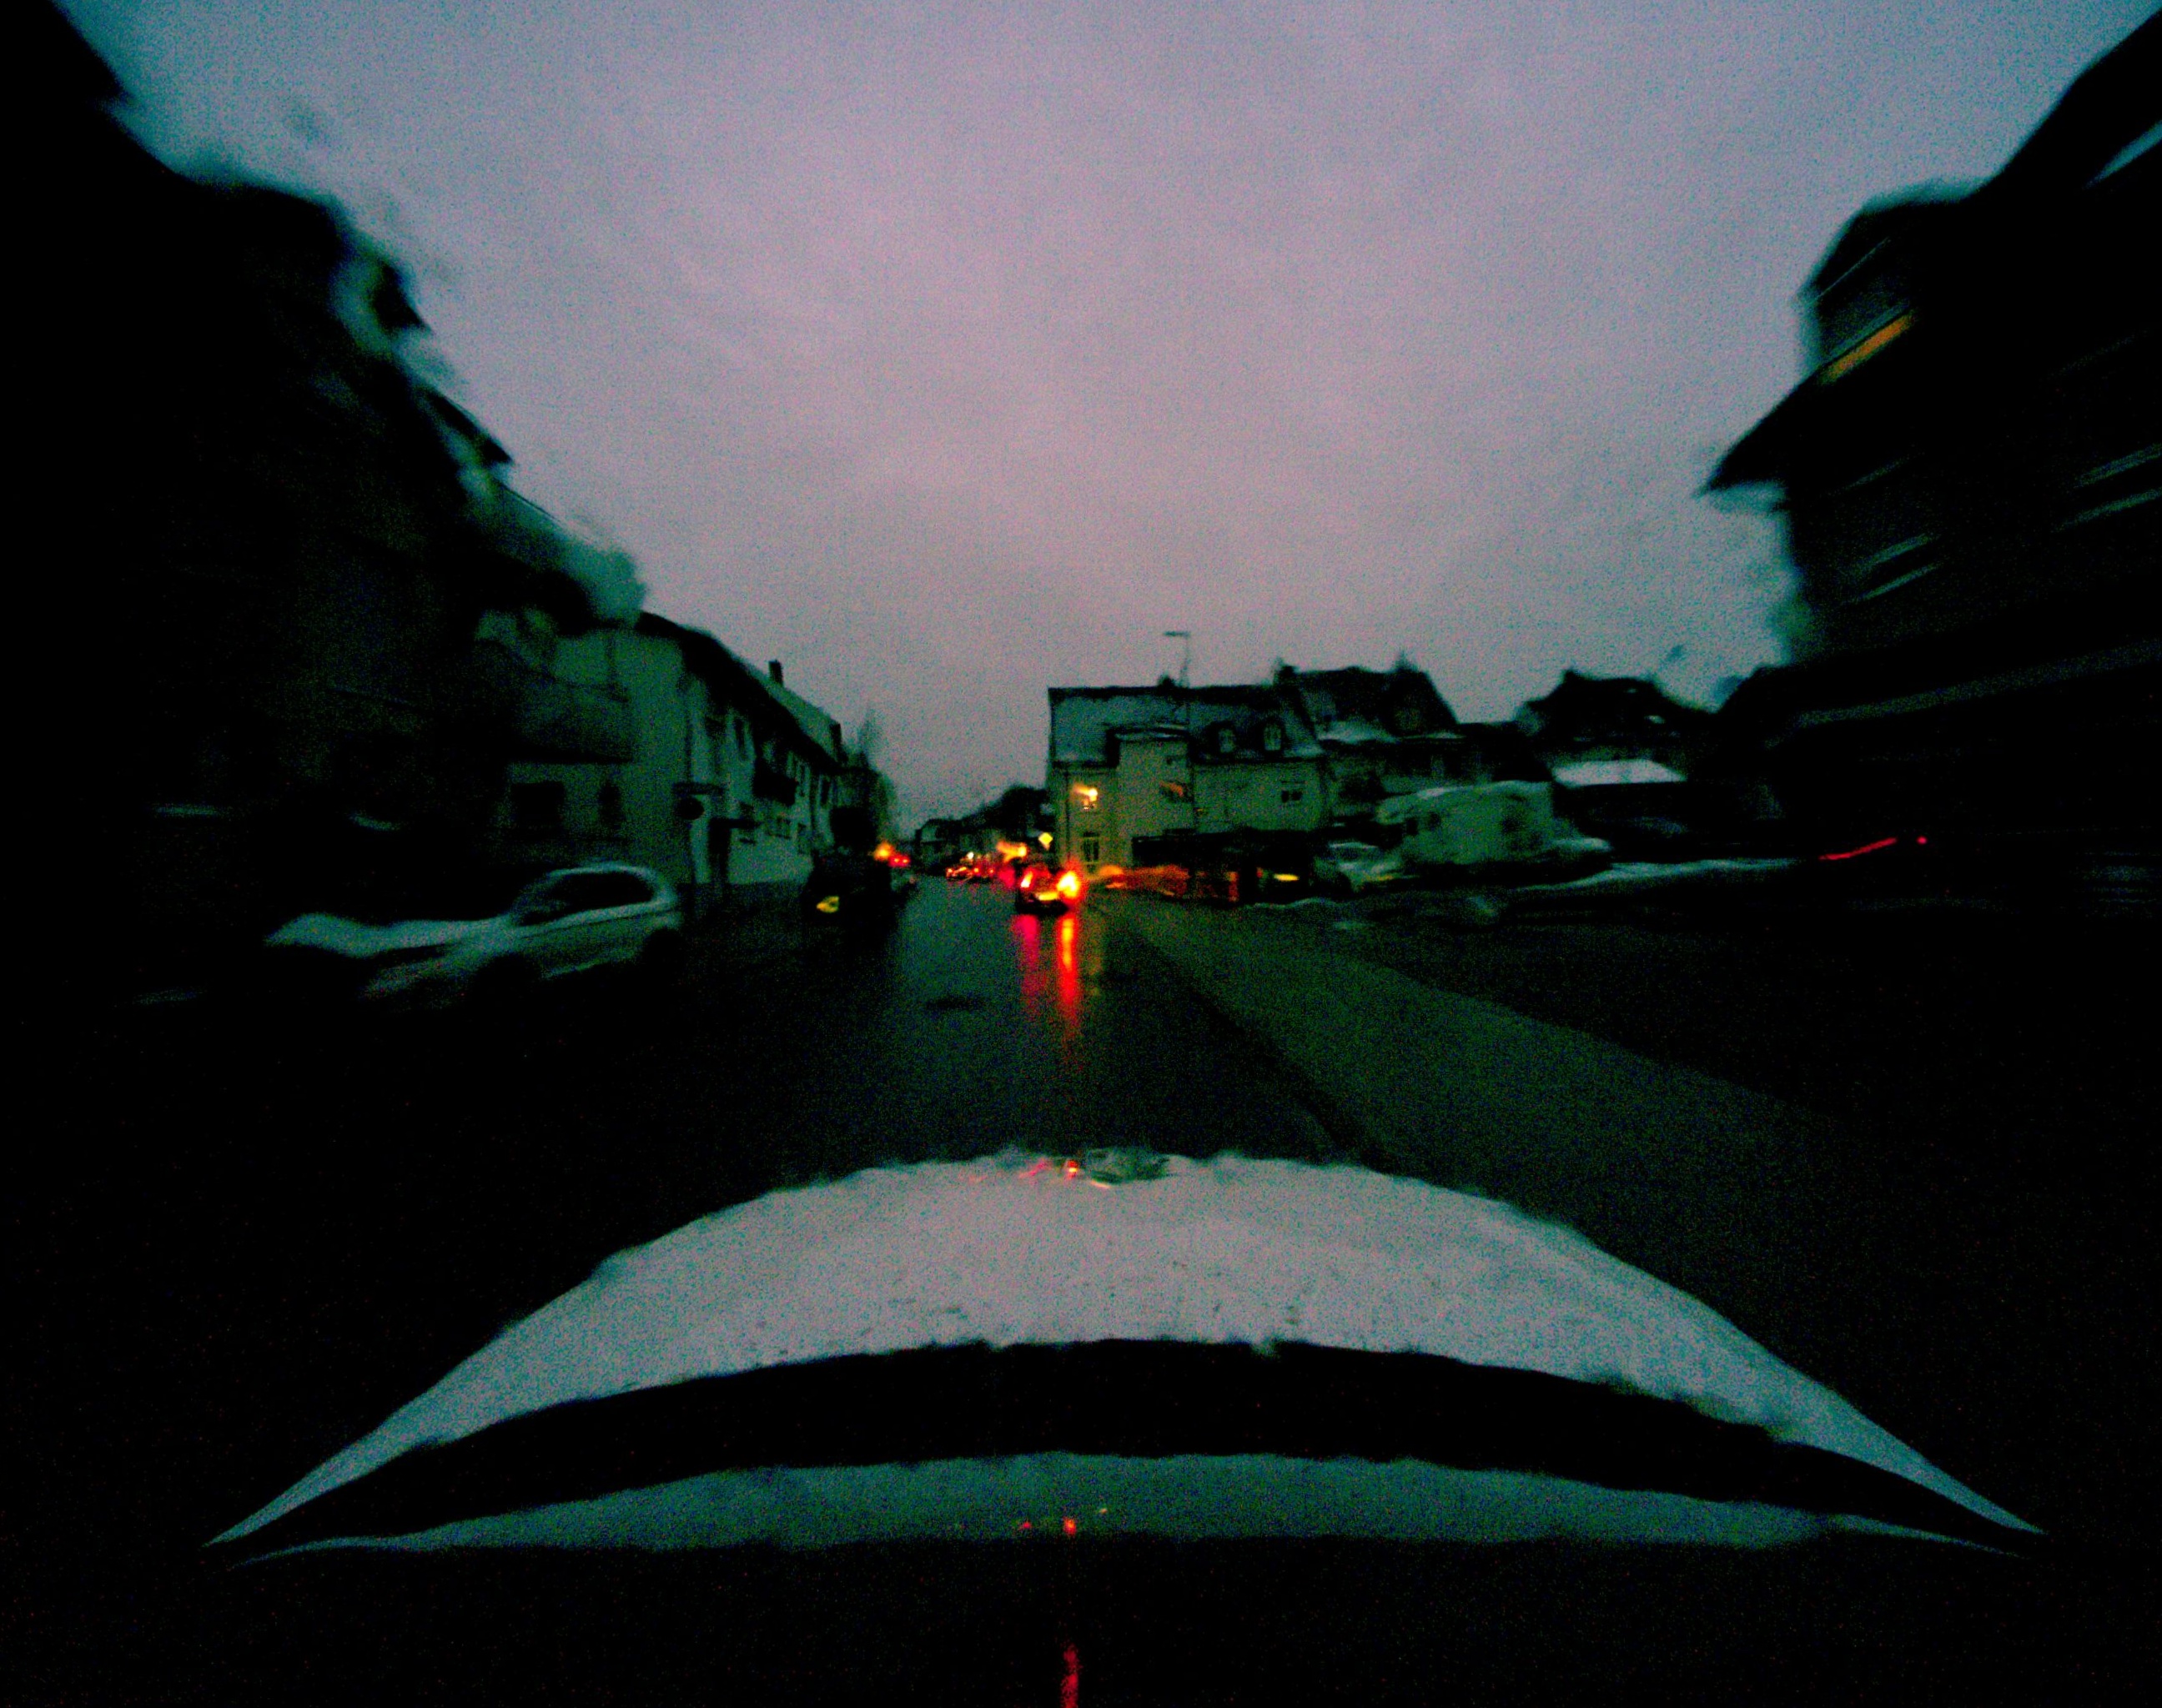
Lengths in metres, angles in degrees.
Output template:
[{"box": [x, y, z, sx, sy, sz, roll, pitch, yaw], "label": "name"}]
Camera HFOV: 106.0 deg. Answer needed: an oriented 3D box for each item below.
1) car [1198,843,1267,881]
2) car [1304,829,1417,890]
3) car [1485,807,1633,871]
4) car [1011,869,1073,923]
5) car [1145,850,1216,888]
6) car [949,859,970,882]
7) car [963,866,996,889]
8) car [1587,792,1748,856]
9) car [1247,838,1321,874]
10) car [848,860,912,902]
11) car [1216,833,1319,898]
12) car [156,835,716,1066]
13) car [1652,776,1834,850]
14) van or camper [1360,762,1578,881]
[{"box": [6.671, 0.344, 36.268, 1.722, 1.462, 3.619, -4, 0, -11], "label": "car"}, {"box": [8.601, 0.209, 25.466, 1.988, 1.611, 4.172, -4, -2, -1], "label": "car"}, {"box": [14.325, -0.399, 24.710, 1.785, 1.553, 3.994, -8, 0, -4], "label": "car"}, {"box": [-1.258, 1.281, 26.146, 1.810, 1.533, 3.995, -1, 0, -3], "label": "car"}, {"box": [4.234, 0.623, 35.171, 1.889, 1.462, 3.616, -2, 0, -14], "label": "car"}, {"box": [-12.261, 1.670, 82.038, 1.993, 2.202, 3.988, -1, 0, -9], "label": "car"}, {"box": [-7.501, 1.706, 59.883, 1.995, 1.588, 3.983, -1, 0, -12], "label": "car"}, {"box": [17.690, -0.857, 24.845, 1.986, 1.606, 4.002, -6, 0, 2], "label": "car"}, {"box": [9.243, 0.085, 37.456, 1.820, 1.462, 4.540, -4, 0, -5], "label": "car"}, {"box": [-8.369, 1.088, 34.343, 1.909, 1.529, 4.538, 2, 0, -6], "label": "car"}, {"box": [5.752, 0.340, 25.755, 1.989, 1.765, 4.346, -4, 0, -3], "label": "car"}, {"box": [-6.415, 0.802, 9.241, 1.986, 1.843, 5.305, -1, 0, 2], "label": "car"}, {"box": [20.376, -1.175, 25.406, 1.771, 1.884, 4.803, -5, -1, 2], "label": "car"}, {"box": [11.757, -0.863, 25.538, 2.650, 3.047, 6.713, -5, 0, -9], "label": "van or camper"}]
